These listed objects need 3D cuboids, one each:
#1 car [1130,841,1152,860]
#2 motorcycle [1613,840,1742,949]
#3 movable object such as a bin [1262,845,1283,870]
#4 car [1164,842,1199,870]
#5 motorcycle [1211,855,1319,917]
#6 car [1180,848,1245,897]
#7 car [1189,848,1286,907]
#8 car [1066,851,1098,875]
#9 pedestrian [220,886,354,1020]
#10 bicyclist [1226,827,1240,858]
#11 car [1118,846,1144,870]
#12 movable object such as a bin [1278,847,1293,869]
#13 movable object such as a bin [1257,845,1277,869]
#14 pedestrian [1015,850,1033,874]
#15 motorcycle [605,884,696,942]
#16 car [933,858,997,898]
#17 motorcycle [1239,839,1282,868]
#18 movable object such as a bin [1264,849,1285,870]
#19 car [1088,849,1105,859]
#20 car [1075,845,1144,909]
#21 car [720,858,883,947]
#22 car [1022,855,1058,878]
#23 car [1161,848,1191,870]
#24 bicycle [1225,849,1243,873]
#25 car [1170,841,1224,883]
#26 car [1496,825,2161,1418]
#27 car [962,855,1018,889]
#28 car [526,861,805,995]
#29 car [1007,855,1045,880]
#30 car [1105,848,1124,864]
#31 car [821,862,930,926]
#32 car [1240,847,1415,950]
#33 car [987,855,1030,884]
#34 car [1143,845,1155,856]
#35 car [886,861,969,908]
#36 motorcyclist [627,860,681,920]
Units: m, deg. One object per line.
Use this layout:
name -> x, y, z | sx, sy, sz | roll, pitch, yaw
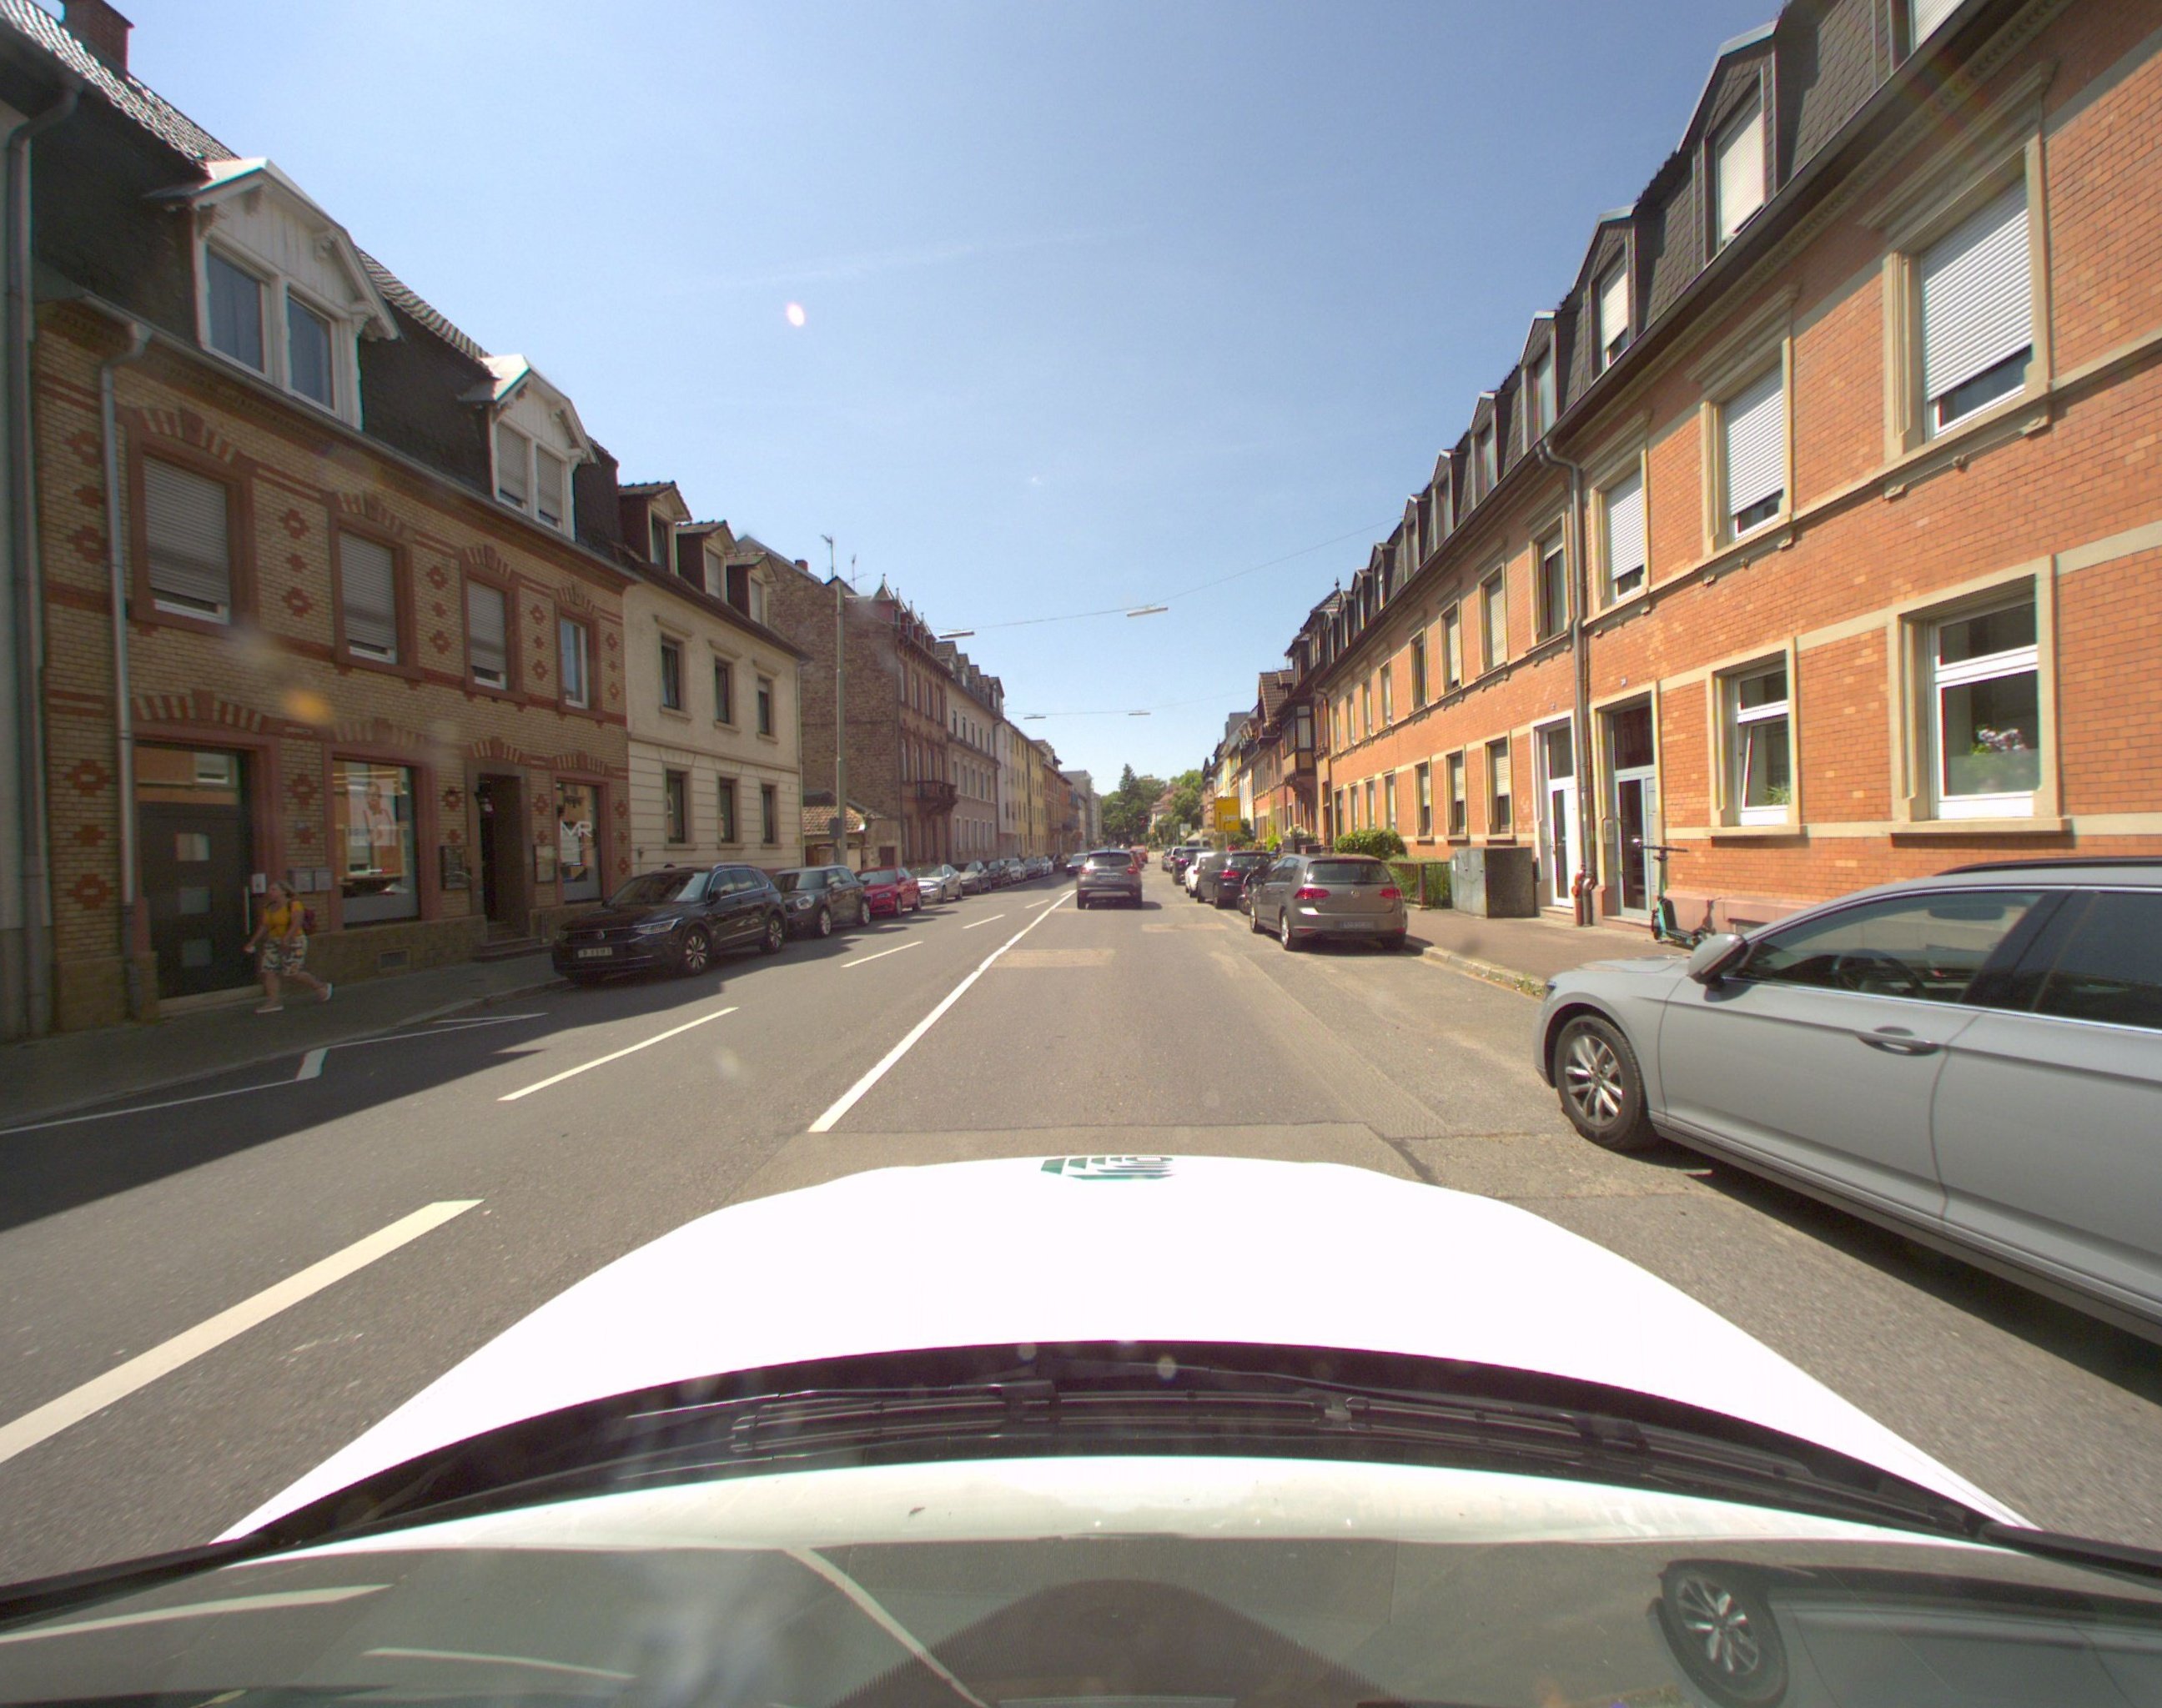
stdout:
car -> 6.619, -0.408, 89.851 | 1.982, 2.013, 4.477 | -3, 0, 9
motorcycle -> 7.316, 0.464, 10.059 | 0.593, 1.224, 1.362 | -3, 0, 3
movable object such as a bin -> 8.739, 0.160, 37.163 | 0.785, 1.088, 0.539 | -3, 0, 1
car -> 6.638, 0.100, 54.093 | 1.853, 1.747, 4.620 | -1, 1, 2
motorcycle -> 4.050, 0.698, 17.951 | 1.971, 1.225, 1.120 | -3, 0, 42
car -> 4.340, 0.564, 27.417 | 1.708, 1.414, 4.595 | -3, 0, 4
car -> 4.154, 0.580, 22.299 | 1.644, 1.414, 4.498 | -2, 0, -2
car -> 0.115, 0.575, 54.363 | 1.783, 1.420, 4.319 | -3, 0, 3
pedestrian -> -9.600, 1.160, 9.883 | 0.605, 1.495, 0.972 | -1, 0, 4
bicyclist -> 7.279, -0.544, 39.074 | 0.530, 1.469, 0.792 | -3, 0, 5
car -> 3.774, 0.291, 62.250 | 1.805, 1.620, 4.445 | -4, 0, 3
movable object such as a bin -> 10.665, 0.212, 42.572 | 0.606, 1.076, 0.762 | -3, 0, 5
movable object such as a bin -> 8.755, 0.148, 38.350 | 0.785, 1.088, 0.554 | -3, 0, 1
pedestrian -> -4.434, 0.632, 62.942 | 1.145, 1.750, 0.971 | -3, 0, 6
motorcycle -> -9.334, 1.247, 17.760 | 0.841, 1.078, 1.873 | -3, 0, 4
car -> -5.040, 1.005, 35.988 | 1.833, 1.422, 4.505 | -7, 0, 2
motorcycle -> 9.895, -0.040, 45.067 | 2.120, 1.408, 0.938 | -4, 0, 3
movable object such as a bin -> 8.690, 0.247, 36.539 | 0.785, 0.907, 0.539 | -3, 0, 1
car -> 2.244, -0.041, 117.532 | 1.894, 1.291, 4.311 | -3, 0, 7
car -> 0.846, 0.586, 23.030 | 1.736, 1.616, 4.003 | -1, 0, 3
car -> -6.223, 1.006, 18.763 | 1.832, 1.596, 4.506 | -6, 0, 3
car -> -2.933, 0.848, 58.769 | 1.831, 1.422, 4.565 | -6, 0, 5
car -> 6.904, 0.317, 59.307 | 1.853, 1.487, 4.313 | -1, 1, 3
bicycle -> 7.331, 0.326, 38.994 | 0.590, 1.066, 1.885 | -3, 0, 5
car -> 5.102, 0.316, 36.405 | 1.984, 1.662, 4.631 | -3, 0, 4
car -> 3.555, 0.644, 2.645 | 1.850, 1.463, 4.544 | -2, 0, -4
car -> -4.605, 0.900, 41.796 | 1.831, 1.422, 4.509 | -6, 0, 5
car -> -6.281, 1.008, 13.053 | 1.832, 1.596, 4.506 | -5, 0, 3
car -> -3.518, 0.848, 53.006 | 1.833, 1.422, 4.648 | -5, 0, 2
car -> 4.297, 0.265, 103.564 | 1.984, 1.792, 5.157 | -3, 0, 6
car -> -5.794, 1.064, 23.552 | 1.834, 1.422, 4.502 | -5, 0, 1
car -> 3.851, 0.618, 13.459 | 1.694, 1.380, 4.168 | -2, 0, 1
car -> -4.140, 0.871, 47.092 | 1.833, 1.422, 4.505 | -5, 0, 2
car -> 10.422, -0.487, 124.309 | 1.754, 1.559, 3.949 | -3, 0, 6
car -> -5.570, 1.054, 30.136 | 1.832, 1.422, 4.506 | -5, 0, 3
motorcyclist -> -9.318, 0.768, 17.804 | 0.715, 1.248, 0.712 | -3, 0, 3
